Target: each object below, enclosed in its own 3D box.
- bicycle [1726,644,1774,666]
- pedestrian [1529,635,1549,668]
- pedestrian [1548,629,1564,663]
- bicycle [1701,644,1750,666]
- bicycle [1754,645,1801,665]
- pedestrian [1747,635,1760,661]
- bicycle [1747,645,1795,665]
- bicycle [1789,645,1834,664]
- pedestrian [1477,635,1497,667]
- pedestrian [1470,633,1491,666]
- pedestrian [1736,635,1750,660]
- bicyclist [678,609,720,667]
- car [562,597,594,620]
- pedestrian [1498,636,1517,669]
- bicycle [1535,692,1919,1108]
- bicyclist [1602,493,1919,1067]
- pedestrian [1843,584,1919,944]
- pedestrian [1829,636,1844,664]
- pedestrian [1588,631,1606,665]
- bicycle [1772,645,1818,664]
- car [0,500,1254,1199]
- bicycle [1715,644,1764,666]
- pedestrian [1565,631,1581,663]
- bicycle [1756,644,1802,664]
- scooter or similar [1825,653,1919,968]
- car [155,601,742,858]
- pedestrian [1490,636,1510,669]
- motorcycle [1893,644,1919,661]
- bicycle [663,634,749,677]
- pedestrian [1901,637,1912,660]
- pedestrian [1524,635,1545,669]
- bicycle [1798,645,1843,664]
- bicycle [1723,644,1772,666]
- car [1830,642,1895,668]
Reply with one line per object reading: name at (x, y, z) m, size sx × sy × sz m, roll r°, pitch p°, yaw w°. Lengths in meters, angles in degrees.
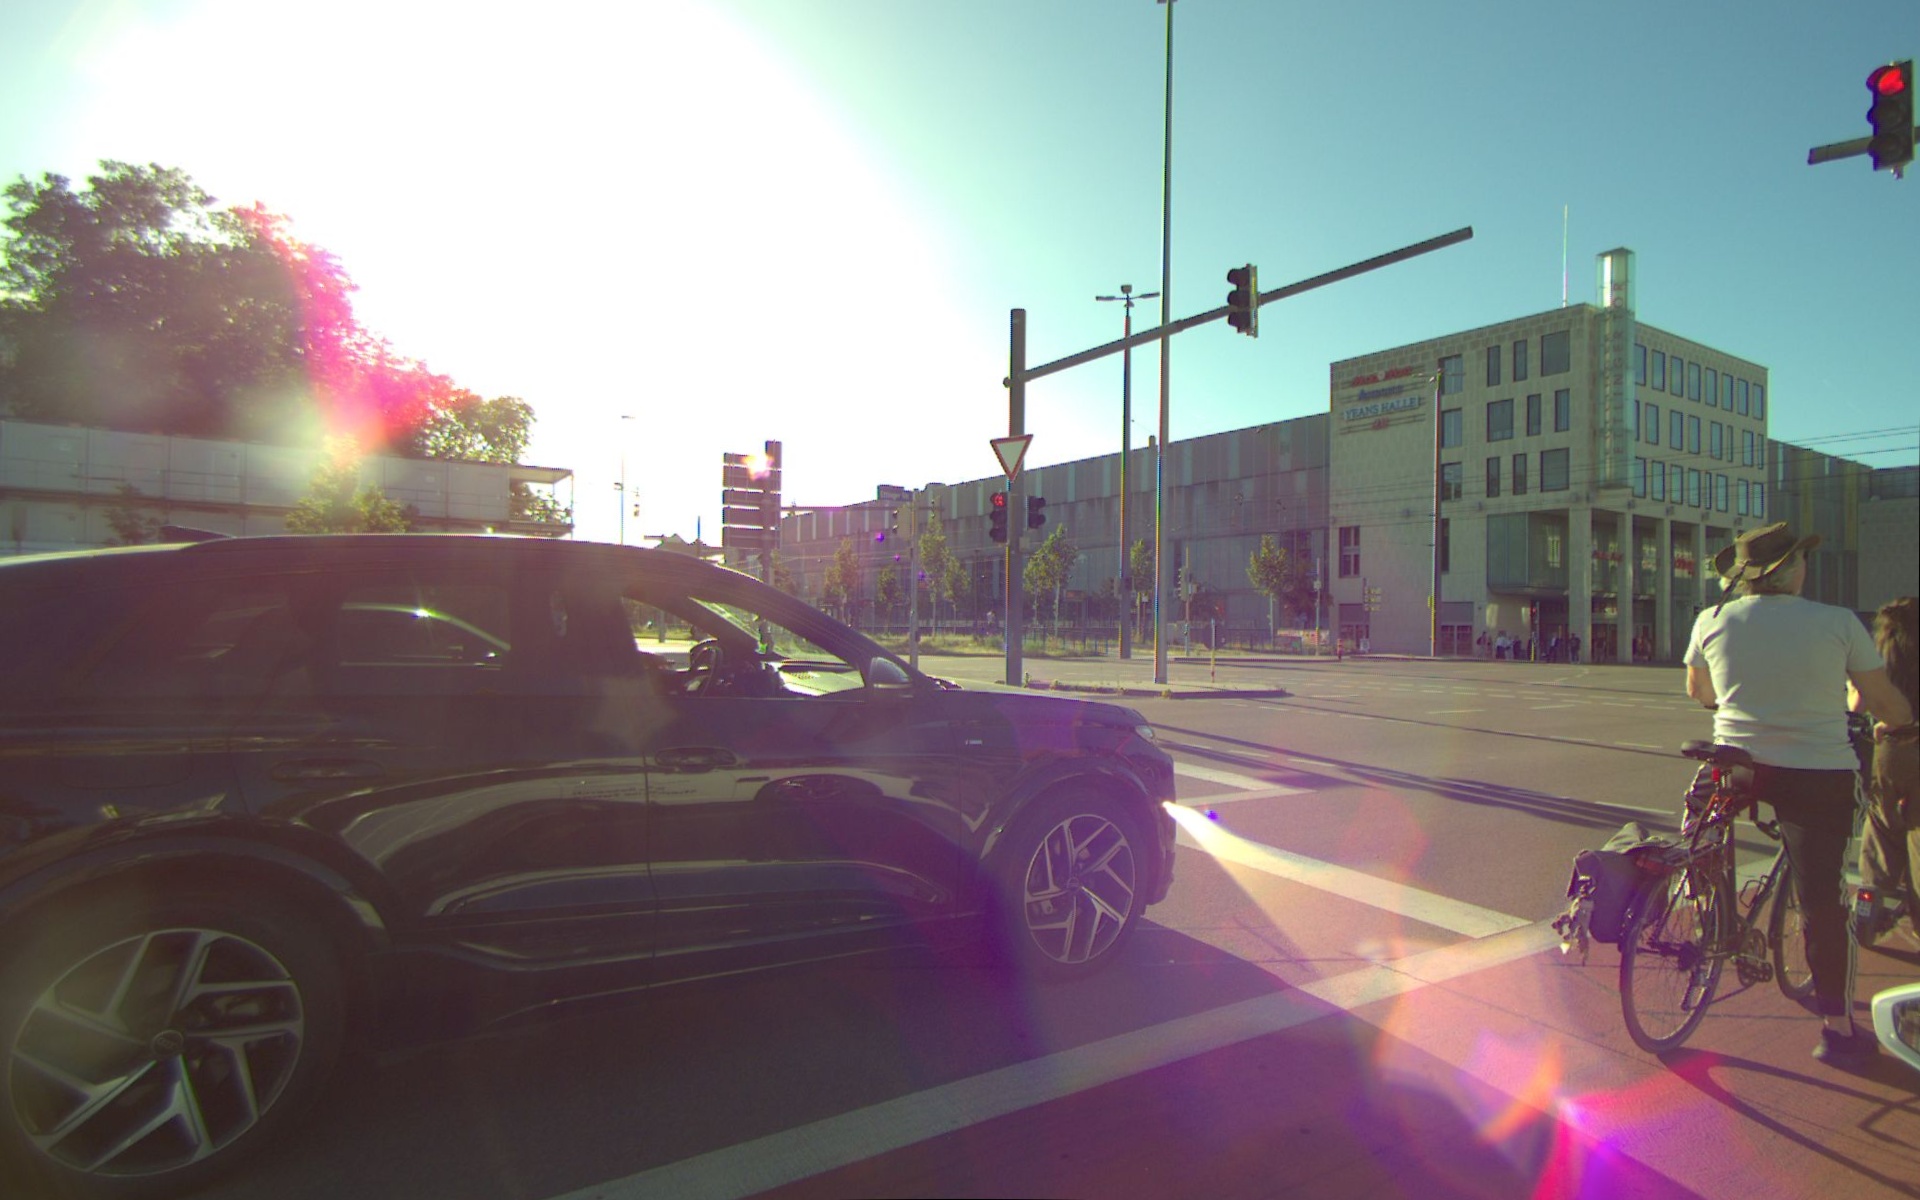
bicycle at (48.696, 3.385, 61.956) m, size 0.605 × 1.238 × 2.295 m, roll 1°, pitch -1°, yaw -31°
pedestrian at (34.405, 3.042, 59.686) m, size 0.710 × 1.910 × 0.779 m, roll 2°, pitch 0°, yaw -36°
pedestrian at (34.314, 2.668, 57.832) m, size 0.705 × 1.910 × 0.785 m, roll 2°, pitch 0°, yaw 33°
bicycle at (45.761, 3.286, 60.080) m, size 0.605 × 1.238 × 2.295 m, roll 1°, pitch -1°, yaw -31°
bicycle at (52.900, 3.528, 65.015) m, size 0.605 × 1.238 × 2.295 m, roll 1°, pitch -1°, yaw -31°
pedestrian at (54.030, 3.251, 68.388) m, size 0.602 × 1.702 × 0.549 m, roll 1°, pitch 0°, yaw -40°
bicycle at (51.276, 3.471, 63.548) m, size 0.605 × 1.238 × 2.295 m, roll 1°, pitch -1°, yaw -31°
bicycle at (58.851, 3.730, 69.425) m, size 0.605 × 1.238 × 2.295 m, roll 1°, pitch -1°, yaw -31°
pedestrian at (32.281, 3.092, 61.527) m, size 0.710 × 1.910 × 0.779 m, roll 2°, pitch 0°, yaw -36°
pedestrian at (32.655, 3.117, 63.041) m, size 0.767 × 2.040 × 0.876 m, roll 2°, pitch 0°, yaw -41°
pedestrian at (53.669, 3.265, 68.847) m, size 0.610 × 1.702 × 0.565 m, roll 1°, pitch 0°, yaw -39°
bicyclist at (-9.496, 1.362, 36.542) m, size 1.078 × 2.040 × 0.961 m, roll 2°, pitch 0°, yaw 15°
car at (-32.937, 0.727, 86.511) m, size 1.785 × 1.908 × 3.964 m, roll 2°, pitch 0°, yaw -33°
pedestrian at (33.025, 3.157, 60.535) m, size 0.780 × 1.910 × 0.709 m, roll 2°, pitch 0°, yaw -37°
bicycle at (2.877, 0.960, 3.677) m, size 1.810 × 1.171 × 0.482 m, roll 2°, pitch 0°, yaw -31°
bicyclist at (2.867, 0.555, 3.551) m, size 0.856 × 1.743 × 0.657 m, roll 2°, pitch 0°, yaw -30°
pedestrian at (4.631, 0.760, 4.804) m, size 0.568 × 1.654 × 0.543 m, roll 2°, pitch 0°, yaw -45°
pedestrian at (56.026, 3.195, 64.203) m, size 0.639 × 1.742 × 0.449 m, roll 0°, pitch -1°, yaw 37°
pedestrian at (35.871, 2.692, 56.580) m, size 0.784 × 1.868 × 0.863 m, roll 0°, pitch -1°, yaw 28°
bicycle at (55.518, 3.616, 66.826) m, size 0.605 × 1.238 × 2.295 m, roll 1°, pitch -1°, yaw -31°
car at (-1.156, 0.630, 3.868) m, size 4.630 × 1.656 × 1.760 m, roll 1°, pitch 0°, yaw -32°
bicycle at (46.963, 3.325, 60.524) m, size 0.605 × 1.238 × 2.295 m, roll 1°, pitch -1°, yaw -31°
pedestrian at (35.629, 2.728, 58.421) m, size 0.784 × 1.868 × 0.862 m, roll 0°, pitch -1°, yaw 32°
bicycle at (54.280, 3.577, 66.563) m, size 0.605 × 1.238 × 2.295 m, roll 1°, pitch -1°, yaw -31°
scooter or similar at (4.490, 0.924, 4.712) m, size 1.186 × 1.311 × 0.541 m, roll 2°, pitch 0°, yaw -45°
car at (-3.588, 0.788, 7.494) m, size 3.562 × 1.505 × 1.485 m, roll 1°, pitch 0°, yaw -30°
pedestrian at (32.161, 3.127, 59.865) m, size 0.710 × 1.910 × 0.779 m, roll 2°, pitch 0°, yaw -36°
motorcycle at (70.738, 3.903, 74.852) m, size 0.508 × 1.223 × 1.786 m, roll 1°, pitch 0°, yaw -44°
bicycle at (-9.214, 2.006, 36.458) m, size 2.905 × 1.388 × 0.970 m, roll 2°, pitch 0°, yaw 16°
pedestrian at (71.096, 3.667, 75.452) m, size 0.579 × 1.702 × 0.516 m, roll 1°, pitch 1°, yaw -43°
pedestrian at (33.396, 3.005, 58.374) m, size 0.710 × 1.910 × 0.779 m, roll 2°, pitch 0°, yaw -36°
bicycle at (59.822, 3.762, 69.849) m, size 0.605 × 1.238 × 2.295 m, roll 1°, pitch -1°, yaw -31°
bicycle at (48.045, 3.362, 61.335) m, size 0.605 × 1.238 × 2.295 m, roll 1°, pitch -1°, yaw -31°
car at (49.782, 3.060, 55.406) m, size 3.956 × 1.359 × 1.621 m, roll 2°, pitch -4°, yaw -32°
